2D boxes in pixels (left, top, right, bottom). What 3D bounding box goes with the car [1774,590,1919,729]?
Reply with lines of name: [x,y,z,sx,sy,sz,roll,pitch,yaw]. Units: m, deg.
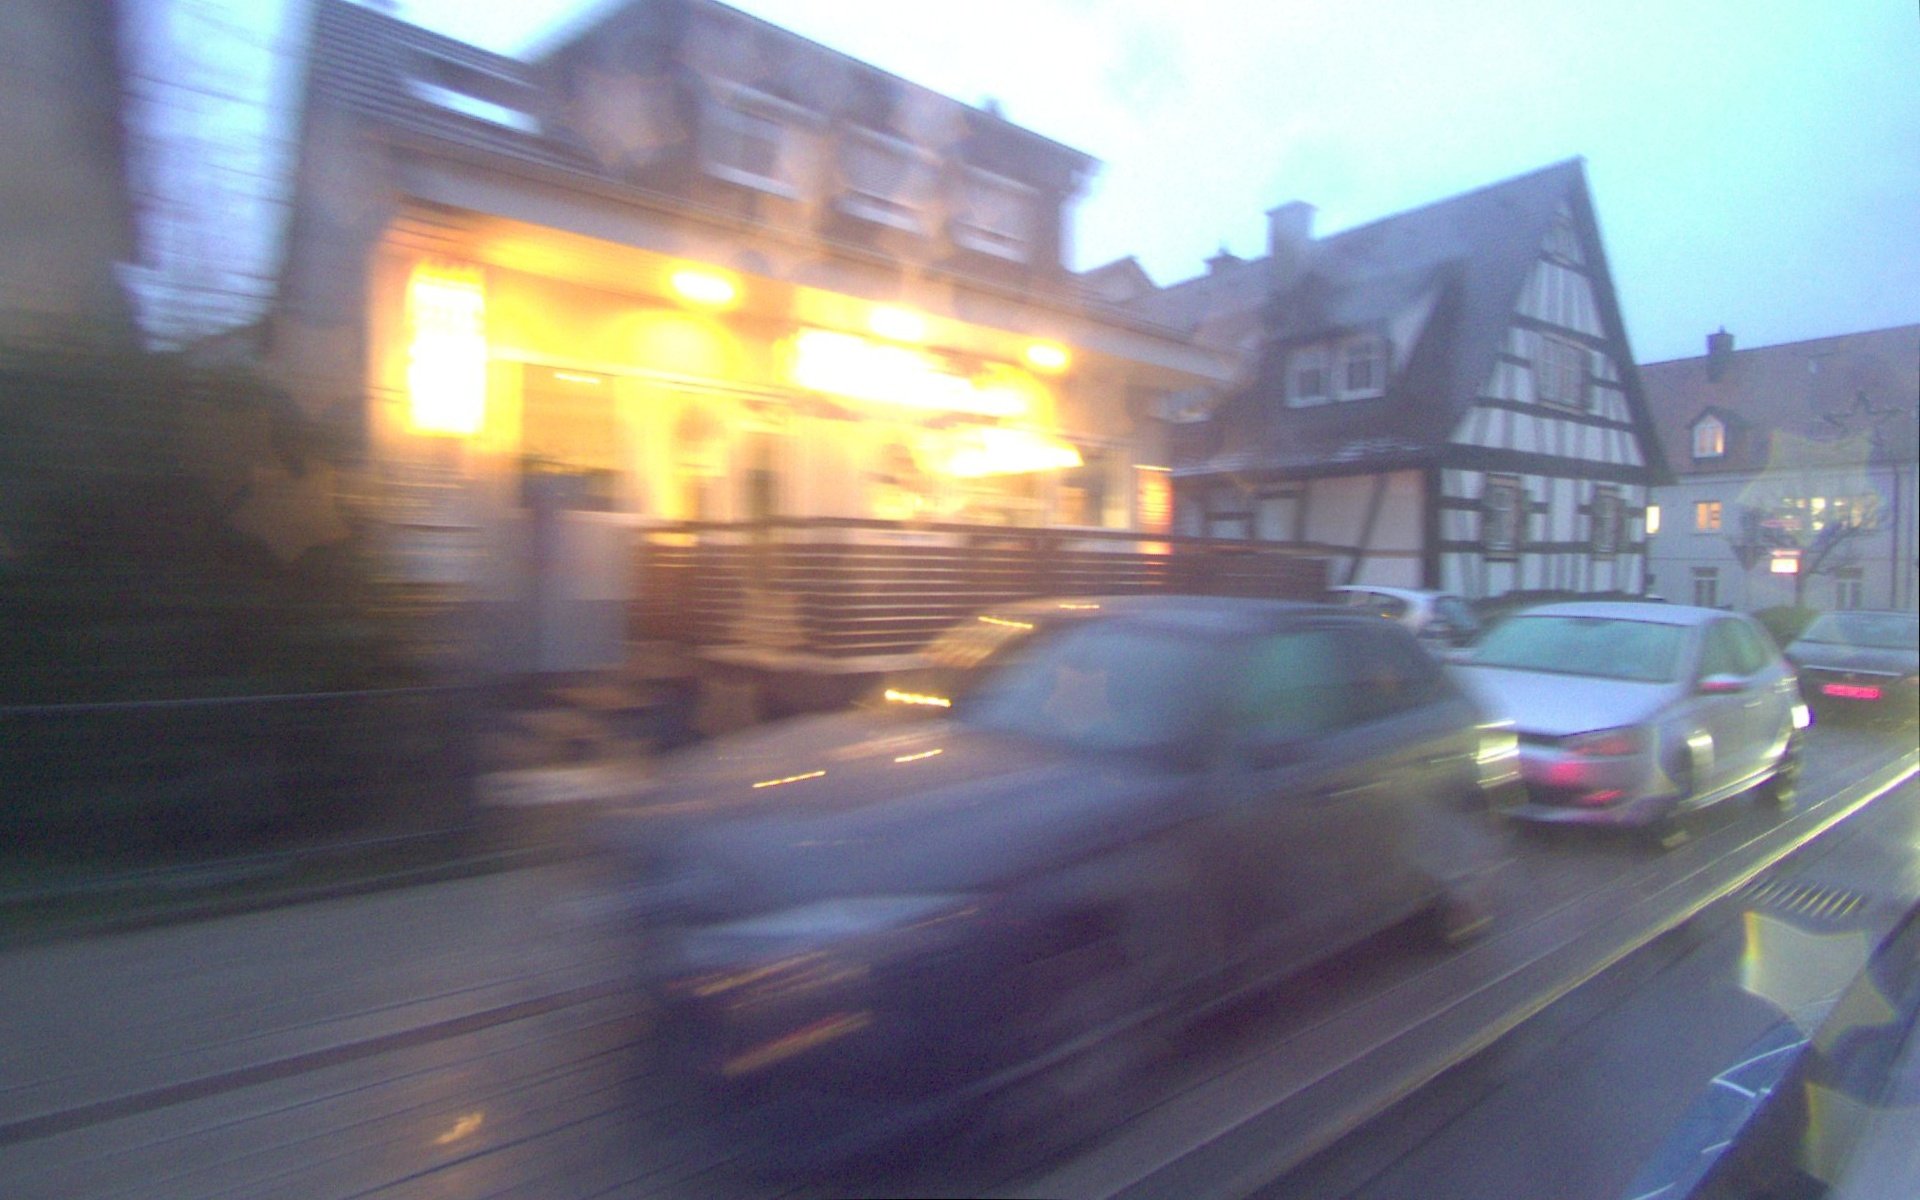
car: [12.523,0.697,13.578,4.314,1.545,1.768,0,4,-42]

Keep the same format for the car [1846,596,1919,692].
car: [16.906,0.733,17.515,3.929,1.476,1.736,0,3,-40]

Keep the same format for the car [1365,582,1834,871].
car: [4.665,0.673,7.201,3.730,1.459,1.631,0,3,-39]

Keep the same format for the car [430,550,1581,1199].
car: [0.634,0.622,4.000,4.529,1.440,1.826,0,4,-42]

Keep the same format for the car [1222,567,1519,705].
car: [5.474,0.381,13.758,1.657,1.458,3.298,0,5,-41]

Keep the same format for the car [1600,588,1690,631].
car: [26.572,0.320,39.420,1.773,1.486,4.198,3,1,19]
